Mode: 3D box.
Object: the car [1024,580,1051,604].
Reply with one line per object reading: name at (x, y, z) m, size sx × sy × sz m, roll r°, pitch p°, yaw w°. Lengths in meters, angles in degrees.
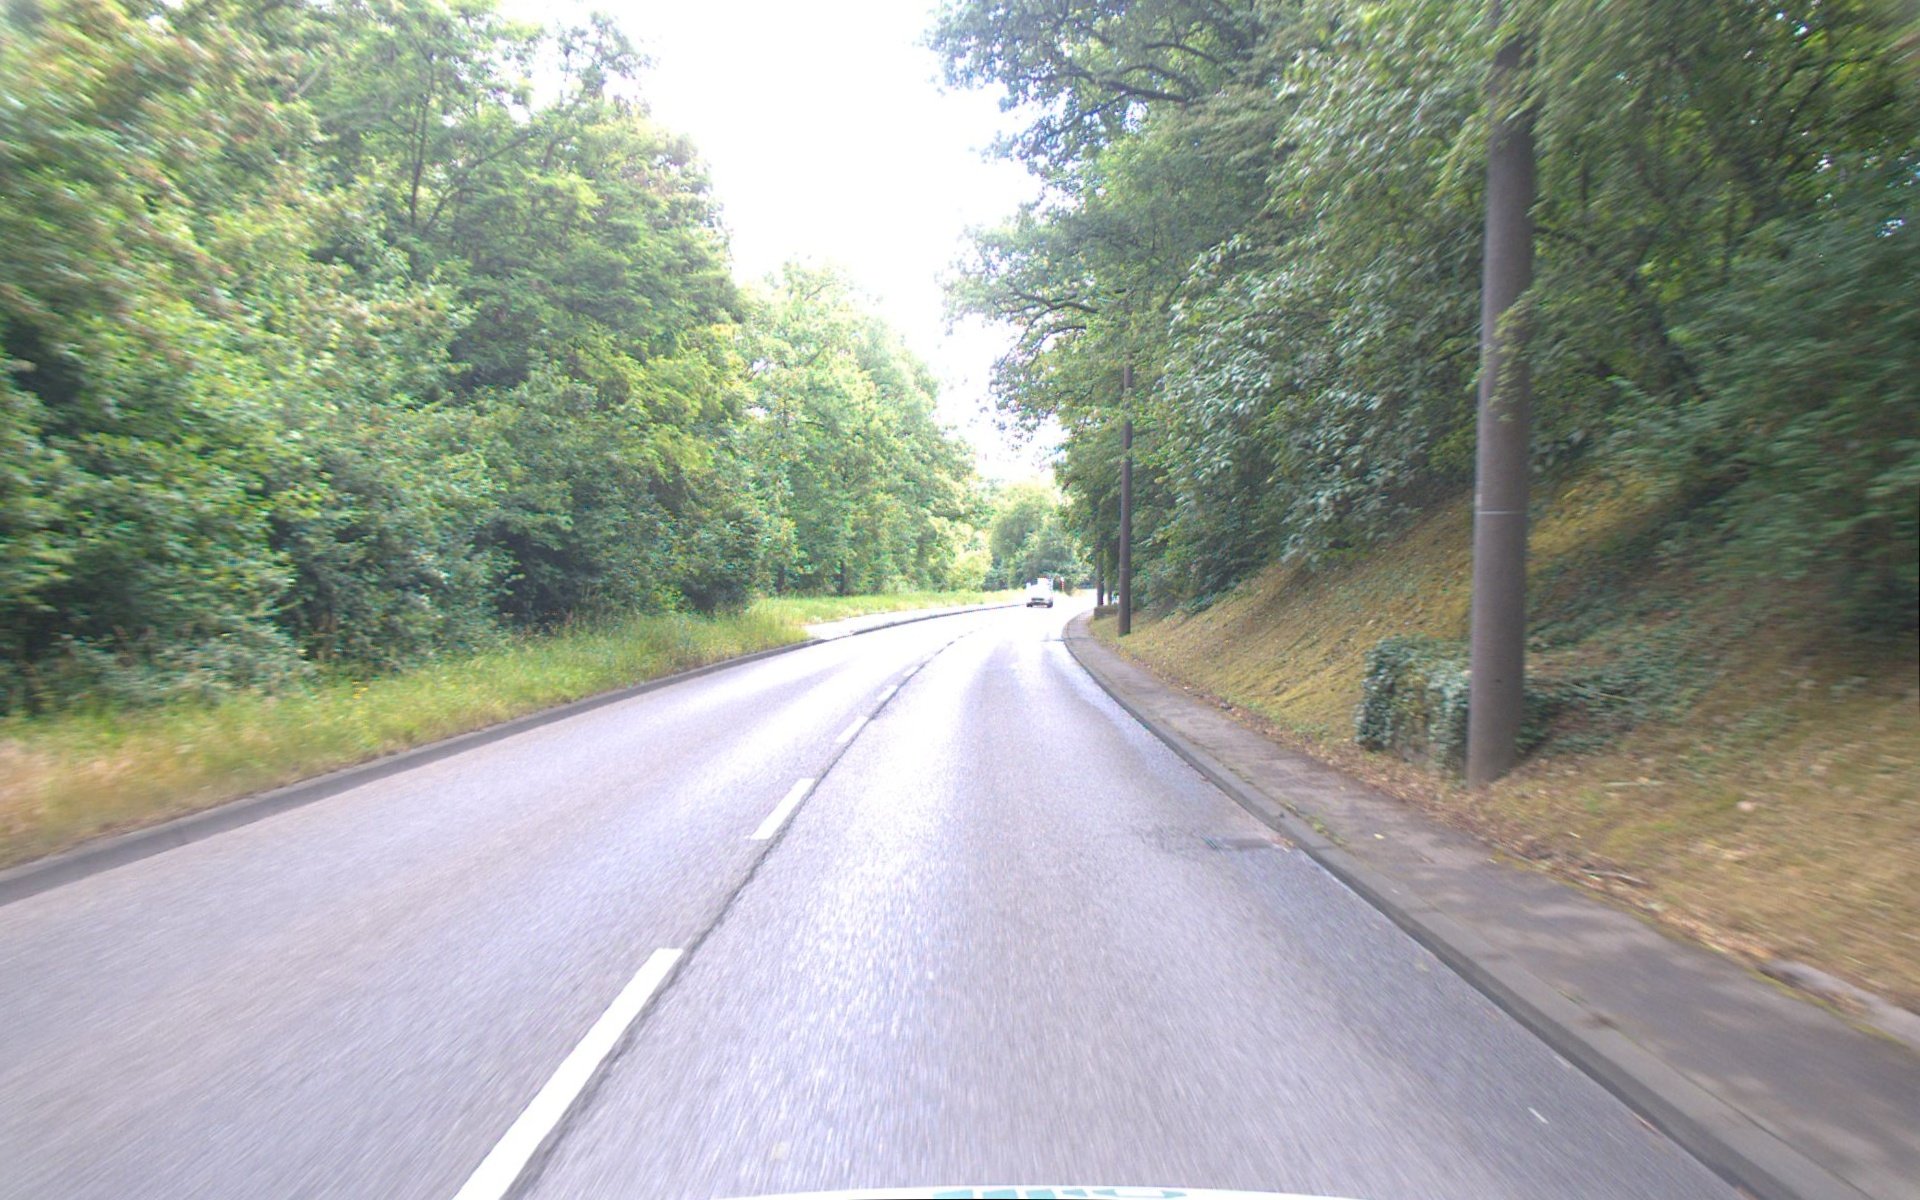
car at (5.958, -0.598, 126.612) m, size 1.952 × 1.784 × 4.784 m, roll 1°, pitch 0°, yaw 4°
